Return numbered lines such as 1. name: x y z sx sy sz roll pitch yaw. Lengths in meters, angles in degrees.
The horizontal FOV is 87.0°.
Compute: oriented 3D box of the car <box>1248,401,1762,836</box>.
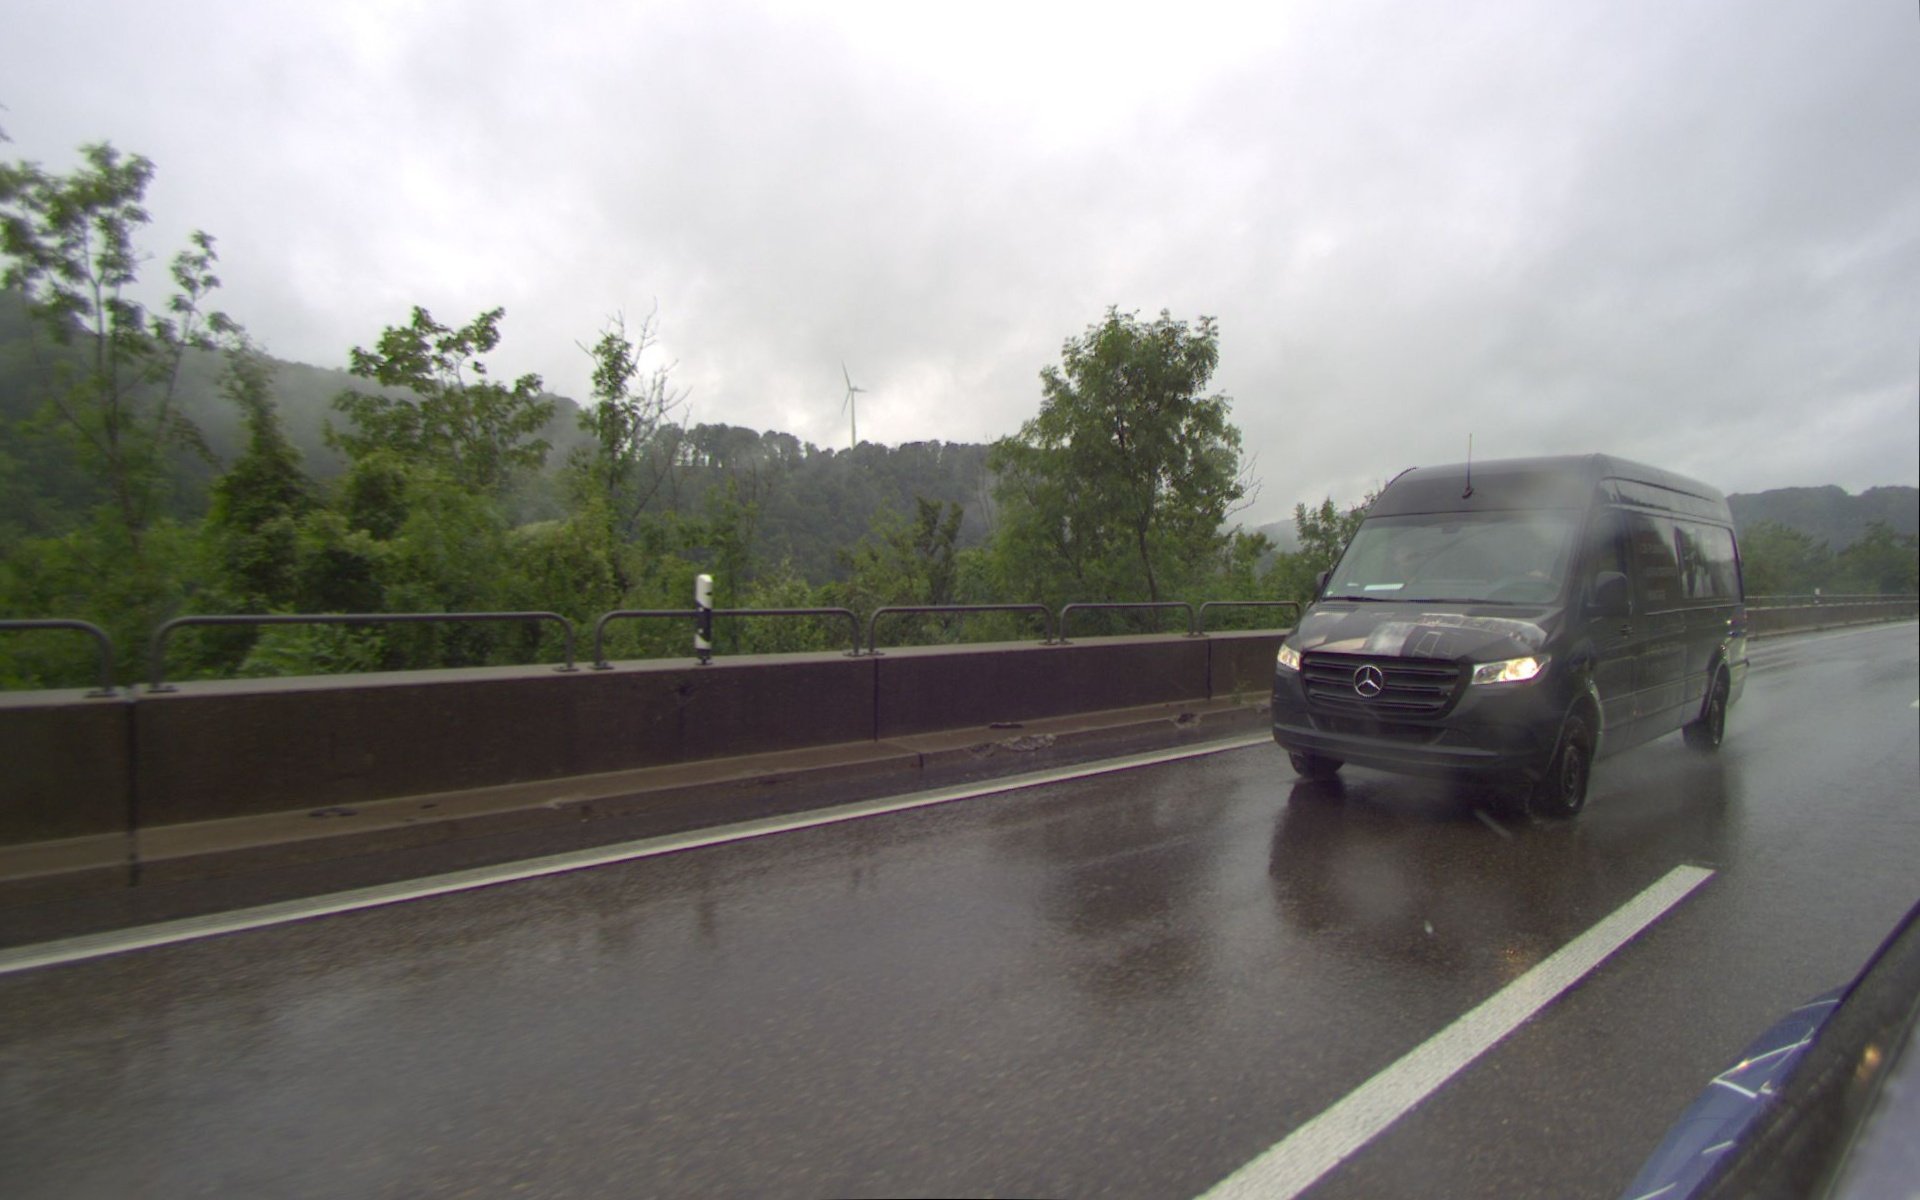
1. car: 5.164 0.063 8.877 6.593 2.525 1.996 -1 1 -43
